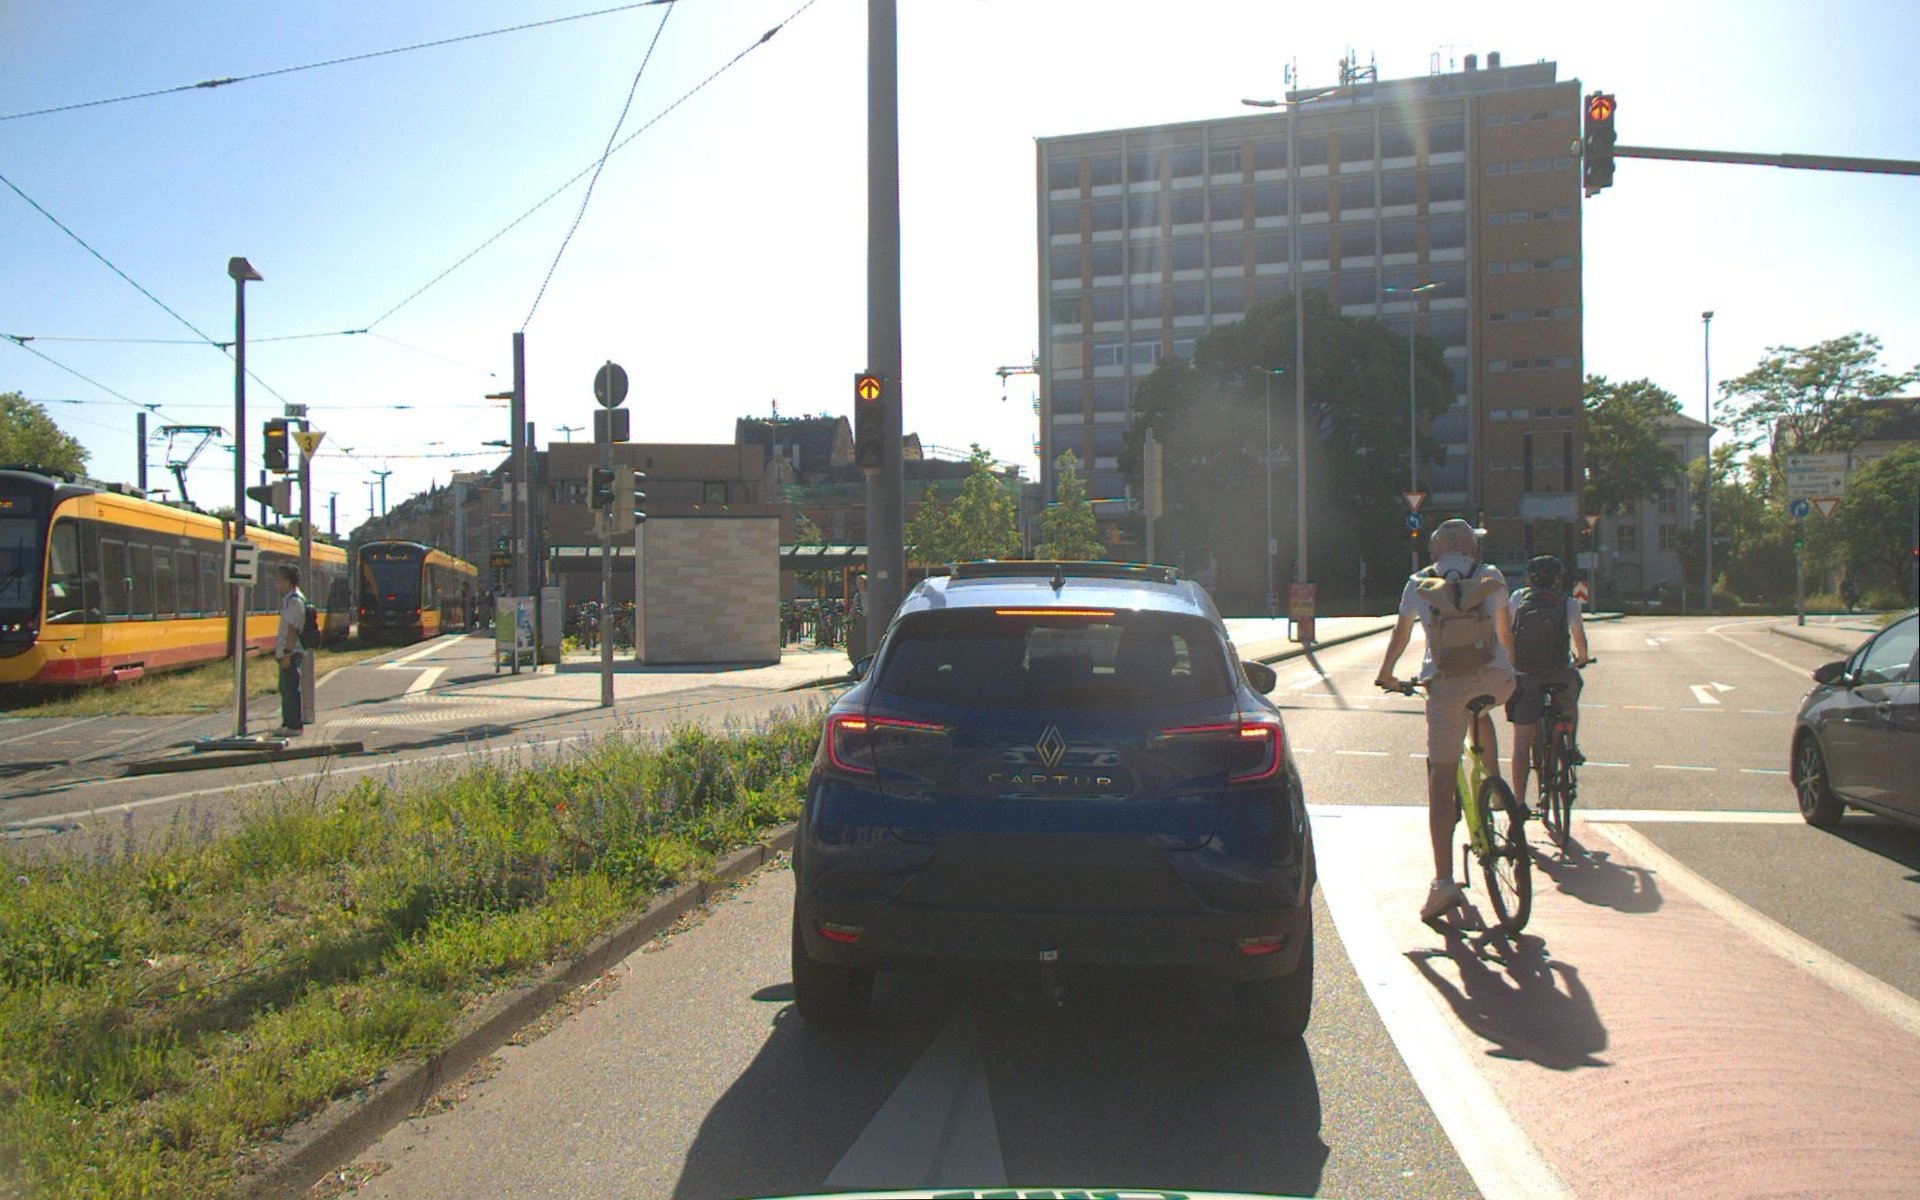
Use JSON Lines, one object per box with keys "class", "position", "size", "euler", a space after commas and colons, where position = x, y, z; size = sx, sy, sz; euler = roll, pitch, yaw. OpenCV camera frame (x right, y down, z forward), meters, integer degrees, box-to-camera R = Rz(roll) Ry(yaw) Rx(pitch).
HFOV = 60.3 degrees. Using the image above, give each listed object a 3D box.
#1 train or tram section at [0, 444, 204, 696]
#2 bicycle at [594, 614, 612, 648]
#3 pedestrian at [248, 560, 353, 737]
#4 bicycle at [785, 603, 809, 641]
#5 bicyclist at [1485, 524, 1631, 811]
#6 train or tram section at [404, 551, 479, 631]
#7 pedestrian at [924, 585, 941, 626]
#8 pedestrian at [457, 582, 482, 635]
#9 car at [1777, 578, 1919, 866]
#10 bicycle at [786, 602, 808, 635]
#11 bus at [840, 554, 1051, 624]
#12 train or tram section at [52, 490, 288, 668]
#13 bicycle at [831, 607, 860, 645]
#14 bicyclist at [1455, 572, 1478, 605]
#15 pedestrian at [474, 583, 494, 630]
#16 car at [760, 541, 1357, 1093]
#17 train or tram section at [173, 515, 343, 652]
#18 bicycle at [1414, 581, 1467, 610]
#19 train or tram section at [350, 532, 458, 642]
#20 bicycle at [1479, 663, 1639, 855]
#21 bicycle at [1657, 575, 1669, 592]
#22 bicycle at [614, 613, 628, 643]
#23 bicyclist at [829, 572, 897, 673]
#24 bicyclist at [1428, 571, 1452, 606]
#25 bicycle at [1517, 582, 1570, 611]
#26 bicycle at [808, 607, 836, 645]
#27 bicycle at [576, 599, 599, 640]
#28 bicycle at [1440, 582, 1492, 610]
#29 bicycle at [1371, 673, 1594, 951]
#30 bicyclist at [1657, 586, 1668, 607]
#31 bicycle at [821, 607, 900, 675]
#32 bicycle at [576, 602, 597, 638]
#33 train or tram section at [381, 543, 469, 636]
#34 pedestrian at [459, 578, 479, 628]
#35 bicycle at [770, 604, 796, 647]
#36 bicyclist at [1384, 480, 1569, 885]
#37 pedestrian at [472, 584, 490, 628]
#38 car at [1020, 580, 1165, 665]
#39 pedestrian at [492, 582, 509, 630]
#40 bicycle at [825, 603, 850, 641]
{"class": "train or tram section", "position": [-15.482, -0.423, 28.336], "size": [2.770, 3.569, 10.438], "euler": [-1, 0, -15]}
{"class": "bicycle", "position": [-10.292, 0.880, 47.645], "size": [0.415, 0.954, 1.300], "euler": [1, 0, -15]}
{"class": "pedestrian", "position": [-7.171, 0.523, 17.975], "size": [1.003, 1.864, 0.754], "euler": [1, -1, -25]}
{"class": "bicycle", "position": [-4.812, 0.645, 48.777], "size": [0.570, 1.107, 2.054], "euler": [1, -1, -9]}
{"class": "bicyclist", "position": [3.641, 0.382, 10.139], "size": [0.706, 1.654, 1.056], "euler": [1, 0, 13]}
{"class": "train or tram section", "position": [-24.782, -0.437, 79.470], "size": [2.823, 3.569, 10.503], "euler": [0, 0, -14]}
{"class": "pedestrian", "position": [-1.317, 0.267, 78.410], "size": [0.710, 1.889, 0.703], "euler": [0, -1, 8]}
{"class": "pedestrian", "position": [-17.912, 0.301, 60.382], "size": [0.833, 1.916, 0.757], "euler": [1, -1, -16]}
{"class": "car", "position": [6.200, 0.663, 9.531], "size": [1.718, 1.568, 3.662], "euler": [0, 0, 10]}
{"class": "bicycle", "position": [-5.561, 0.644, 56.242], "size": [0.570, 1.107, 1.866], "euler": [1, -1, -11]}
{"class": "bus", "position": [-0.931, -0.509, 86.884], "size": [12.213, 3.455, 2.867], "euler": [0, -1, 40]}
{"class": "train or tram section", "position": [-18.000, -0.422, 38.514], "size": [2.768, 3.569, 10.574], "euler": [0, 0, -13]}
{"class": "bicycle", "position": [-2.996, 0.679, 43.227], "size": [0.570, 0.978, 2.054], "euler": [1, -1, -9]}
{"class": "bicyclist", "position": [28.705, -0.629, 93.781], "size": [1.134, 1.829, 0.883], "euler": [0, -1, 25]}
{"class": "pedestrian", "position": [-19.455, 0.269, 67.583], "size": [0.661, 1.889, 0.701], "euler": [1, -1, -9]}
{"class": "car", "position": [0.448, 0.634, 6.832], "size": [1.785, 1.628, 3.661], "euler": [1, 0, 5]}
{"class": "train or tram section", "position": [-20.528, -0.429, 49.043], "size": [2.768, 3.569, 11.171], "euler": [0, 0, -13]}
{"class": "bicycle", "position": [26.914, -0.235, 92.700], "size": [2.746, 1.568, 0.883], "euler": [0, -1, 25]}
{"class": "train or tram section", "position": [-19.680, -0.420, 59.045], "size": [2.823, 3.569, 10.503], "euler": [0, 0, -14]}
{"class": "bicycle", "position": [3.662, 0.926, 10.248], "size": [0.707, 0.976, 1.885], "euler": [1, 0, 13]}
{"class": "bicycle", "position": [48.855, -1.146, 114.972], "size": [0.597, 1.112, 1.669], "euler": [-1, 0, 29]}
{"class": "bicycle", "position": [-10.781, 0.884, 52.661], "size": [0.414, 0.954, 1.375], "euler": [1, 0, -11]}
{"class": "bicyclist", "position": [-1.640, 0.385, 28.149], "size": [0.861, 1.673, 1.061], "euler": [-1, -1, 14]}
{"class": "bicyclist", "position": [26.921, -0.622, 92.692], "size": [1.183, 1.930, 0.883], "euler": [0, -1, 25]}
{"class": "bicycle", "position": [32.609, -0.203, 92.442], "size": [2.746, 1.568, 0.883], "euler": [0, -1, 25]}
{"class": "bicycle", "position": [-3.596, 0.673, 43.132], "size": [0.570, 0.978, 2.054], "euler": [1, -1, -9]}
{"class": "bicycle", "position": [-10.338, 0.547, 45.927], "size": [0.556, 1.112, 2.024], "euler": [1, -1, -11]}
{"class": "bicycle", "position": [28.700, -0.206, 93.780], "size": [2.746, 1.568, 0.883], "euler": [0, -1, 25]}
{"class": "bicycle", "position": [2.415, 0.925, 7.850], "size": [0.648, 1.065, 1.892], "euler": [0, 0, 6]}
{"class": "bicyclist", "position": [48.844, -0.228, 114.944], "size": [0.606, 1.469, 0.818], "euler": [-1, 0, 30]}
{"class": "bicycle", "position": [-1.666, 0.677, 28.107], "size": [0.756, 1.099, 2.037], "euler": [-1, 0, 14]}
{"class": "bicycle", "position": [-11.782, 0.644, 52.217], "size": [0.556, 1.112, 2.024], "euler": [1, -1, -11]}
{"class": "train or tram section", "position": [-22.269, -0.414, 69.316], "size": [2.823, 3.569, 10.503], "euler": [0, 0, -14]}
{"class": "pedestrian", "position": [-19.500, 0.116, 65.645], "size": [0.727, 1.951, 0.739], "euler": [1, -1, -16]}
{"class": "bicycle", "position": [-4.591, 0.660, 42.745], "size": [0.570, 1.076, 1.812], "euler": [1, -1, -9]}
{"class": "bicyclist", "position": [2.405, 0.362, 7.798], "size": [0.649, 1.778, 1.006], "euler": [0, 0, 6]}
{"class": "pedestrian", "position": [-20.753, 0.279, 71.696], "size": [0.620, 1.889, 0.701], "euler": [1, -1, -9]}
{"class": "car", "position": [2.516, 0.364, 30.475], "size": [1.762, 1.417, 4.095], "euler": [-1, 1, 18]}
{"class": "pedestrian", "position": [-18.425, 0.255, 66.332], "size": [0.623, 1.889, 0.699], "euler": [1, -1, -19]}
{"class": "bicycle", "position": [-3.627, 0.654, 48.863], "size": [0.570, 1.107, 2.054], "euler": [1, -1, -9]}
